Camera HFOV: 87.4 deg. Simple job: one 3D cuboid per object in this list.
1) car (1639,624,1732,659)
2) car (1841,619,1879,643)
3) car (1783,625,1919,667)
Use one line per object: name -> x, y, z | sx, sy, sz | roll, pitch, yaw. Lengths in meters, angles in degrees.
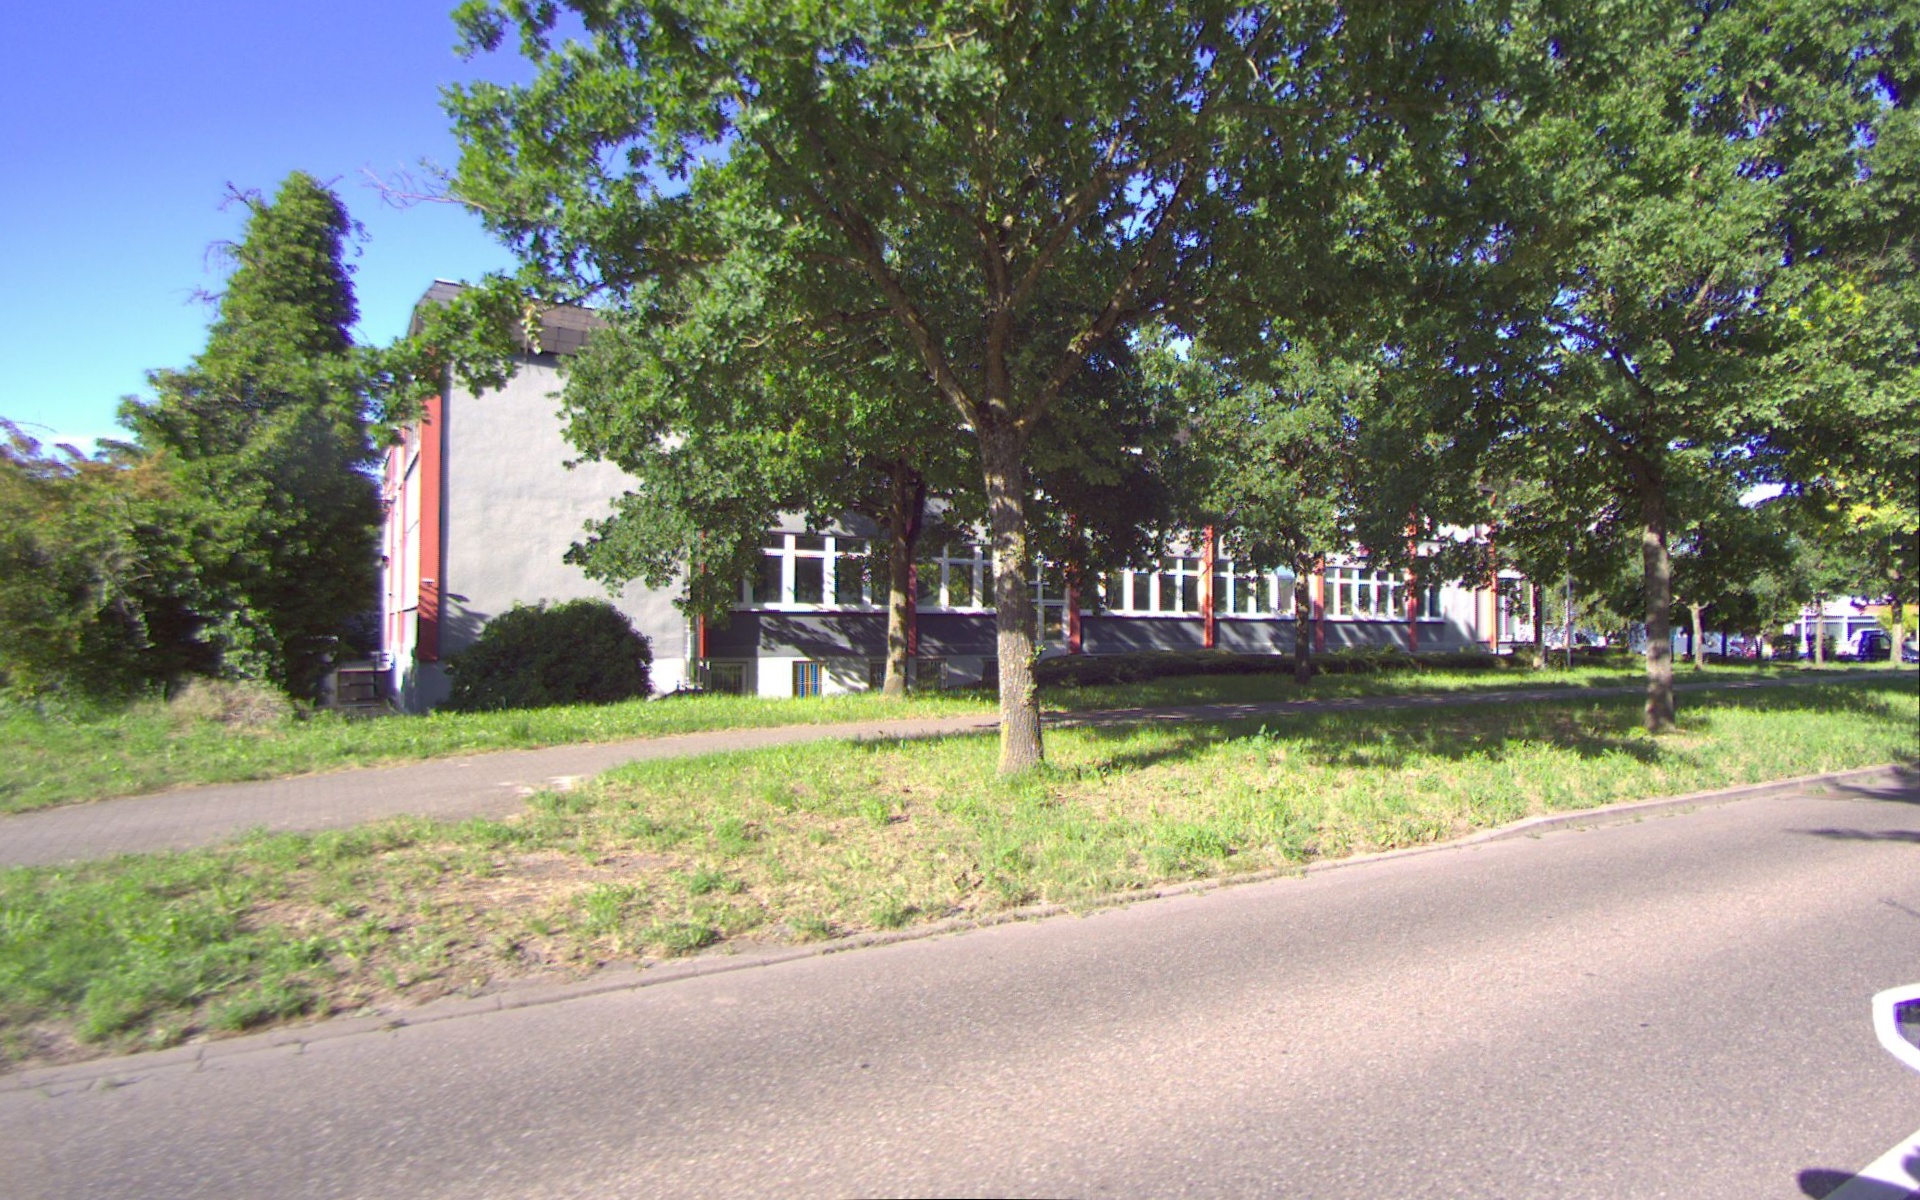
car -> 37.454, 2.118, 51.918 | 1.973, 1.664, 3.349 | 1, 0, -24
car -> 87.055, 3.011, 97.131 | 3.962, 2.265, 1.980 | 1, -2, -37
car -> 50.176, 2.529, 56.520 | 1.983, 2.040, 5.742 | 1, 0, -39
